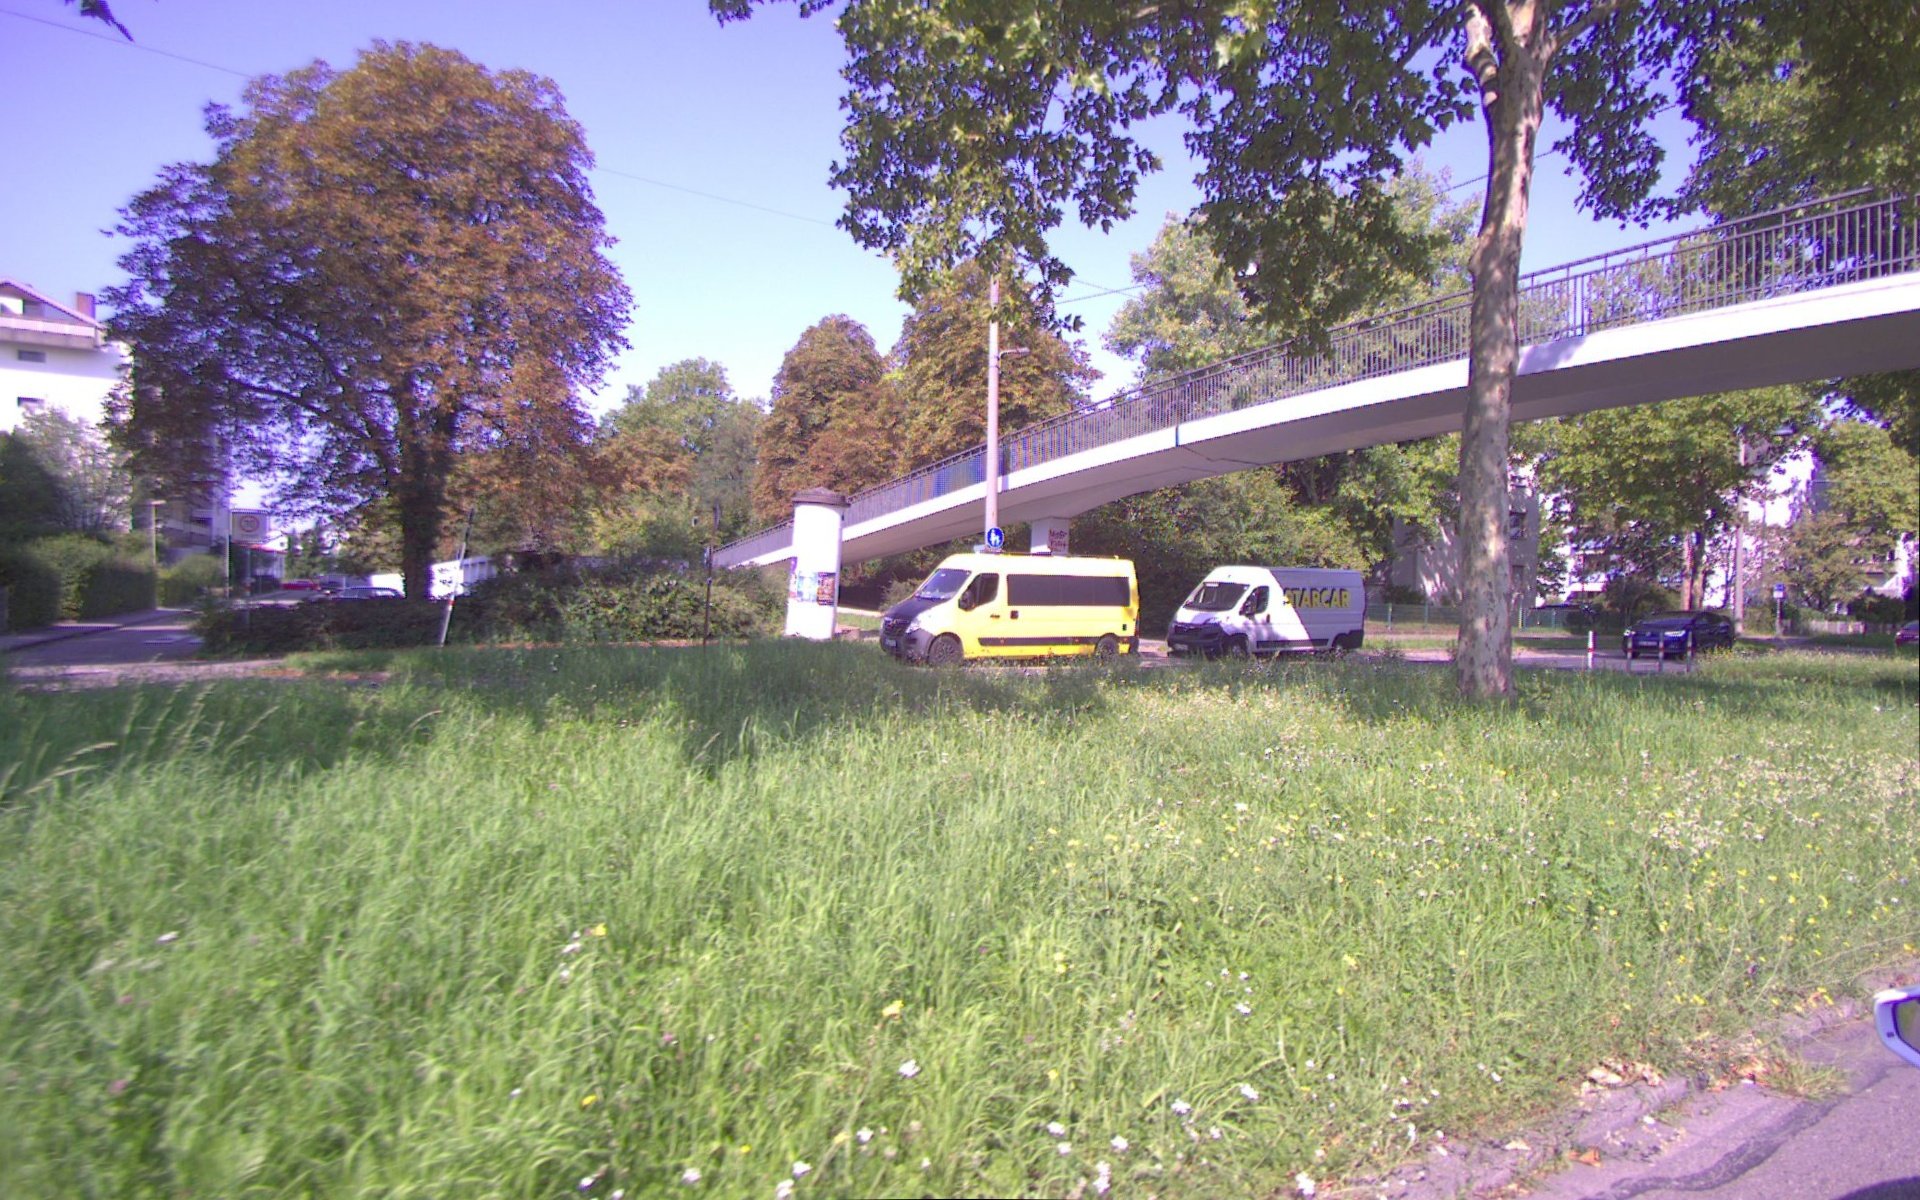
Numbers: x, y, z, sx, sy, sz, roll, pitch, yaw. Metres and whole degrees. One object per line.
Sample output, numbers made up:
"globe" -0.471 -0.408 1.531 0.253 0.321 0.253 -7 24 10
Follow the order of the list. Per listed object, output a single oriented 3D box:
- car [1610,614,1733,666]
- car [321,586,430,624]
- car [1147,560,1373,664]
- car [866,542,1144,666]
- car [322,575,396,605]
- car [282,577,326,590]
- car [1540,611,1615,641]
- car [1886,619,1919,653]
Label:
"car" 23.732 1.318 33.454 4.407 1.553 1.777 2 1 -32
"car" -24.501 0.228 42.244 3.879 1.486 1.688 1 0 -30
"car" 8.157 0.333 27.067 6.196 2.463 2.195 2 3 -32
"car" 1.081 0.142 22.667 5.988 2.512 2.197 2 1 -30
"car" -40.470 -0.670 67.758 4.187 1.841 1.688 2 0 -30
"car" -80.378 -2.009 123.124 4.370 1.464 1.983 2 1 -31
"car" 41.577 1.705 67.698 3.922 1.795 1.999 2 1 21
"car" 46.578 1.761 48.661 4.028 1.553 1.680 1 0 -34
